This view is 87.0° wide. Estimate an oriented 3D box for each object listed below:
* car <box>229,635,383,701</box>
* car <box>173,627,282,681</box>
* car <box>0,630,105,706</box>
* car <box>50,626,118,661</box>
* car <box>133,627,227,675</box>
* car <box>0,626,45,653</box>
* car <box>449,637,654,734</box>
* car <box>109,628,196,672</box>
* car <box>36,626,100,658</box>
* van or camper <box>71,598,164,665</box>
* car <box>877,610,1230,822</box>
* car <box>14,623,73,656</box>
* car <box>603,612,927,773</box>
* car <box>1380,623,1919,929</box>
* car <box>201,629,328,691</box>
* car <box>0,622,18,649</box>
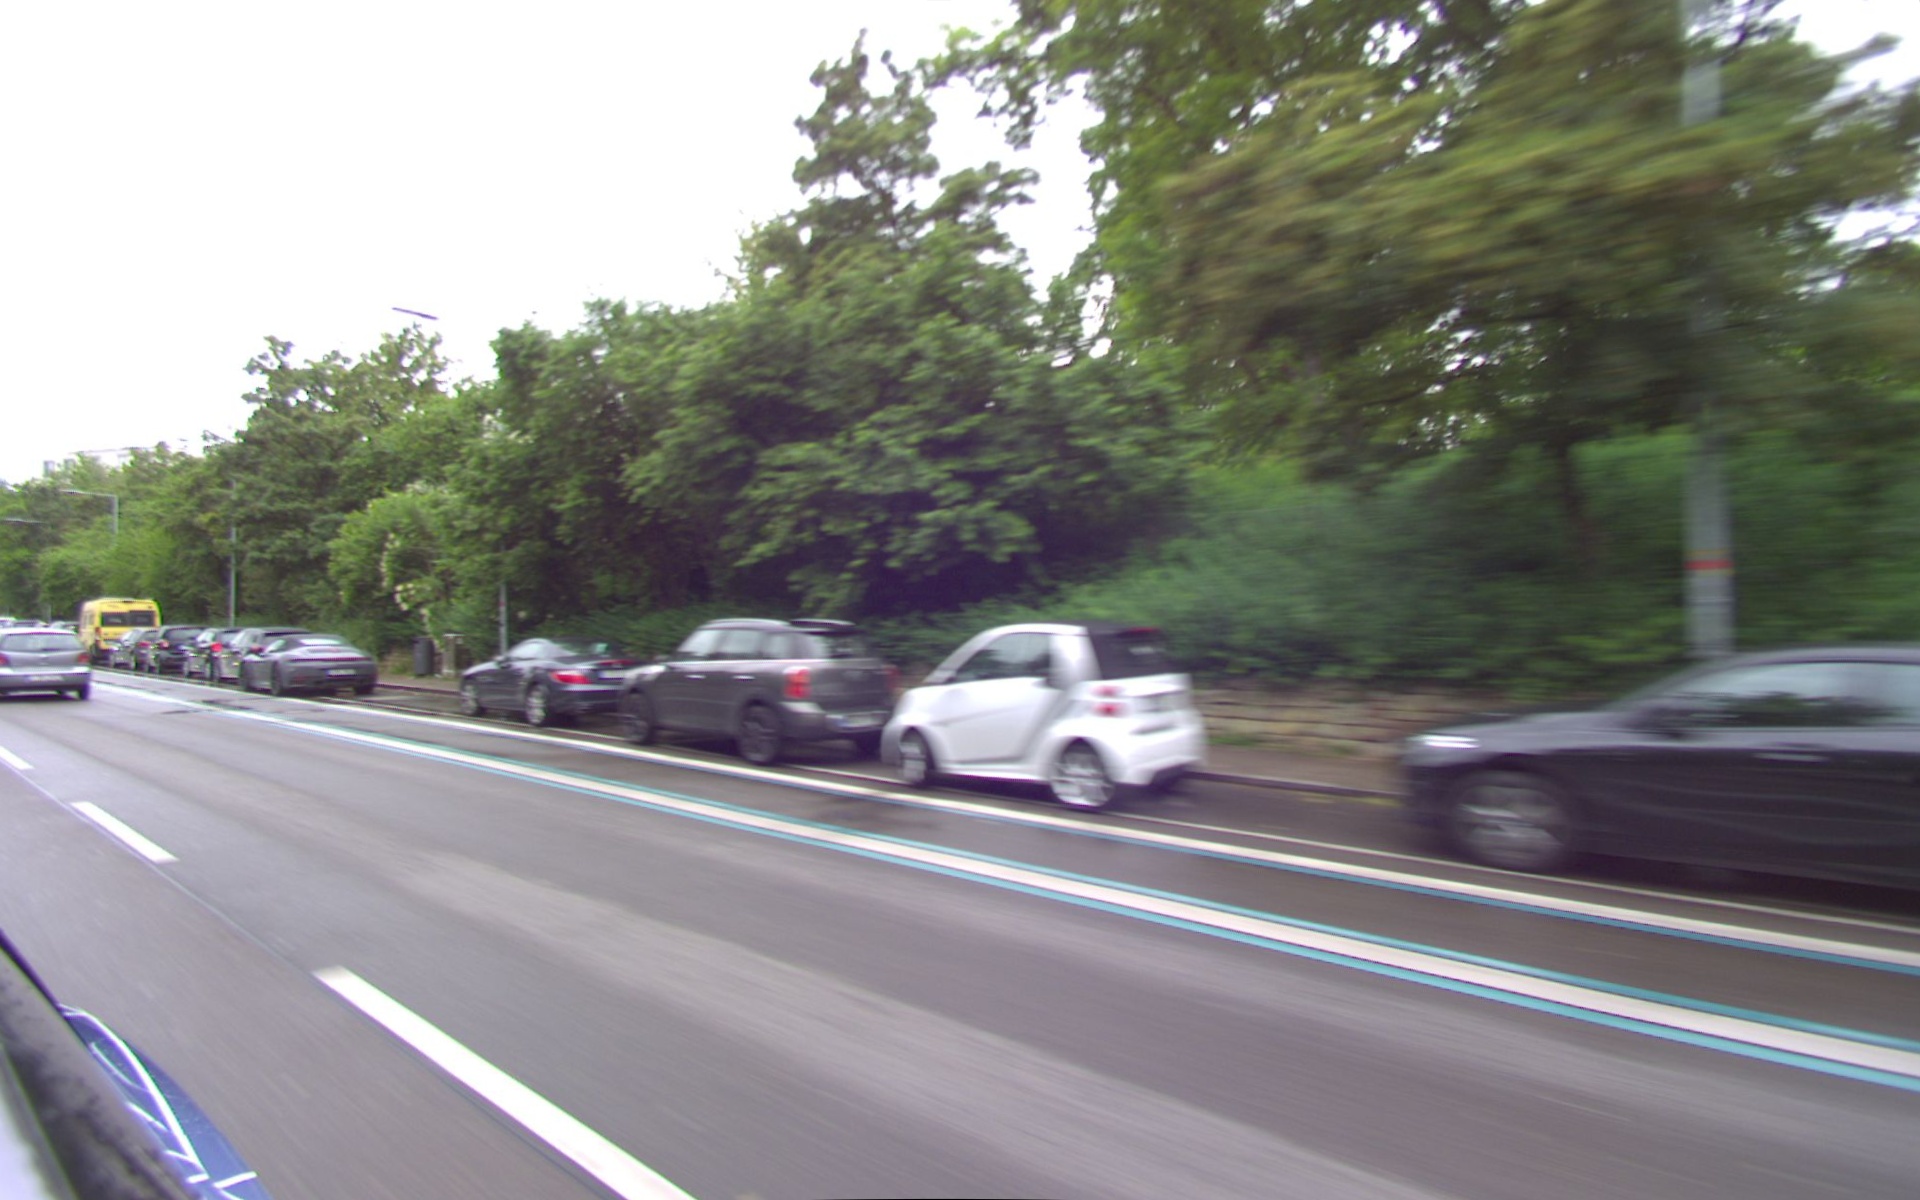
[{"bbox_3d":[-14.541,1.435,22.416,4.204,1.303,1.802,-2,-2,41],"label":"car"},{"bbox_3d":[-21.363,1.532,29.473,3.771,1.446,1.802,-2,-2,41],"label":"car"},{"bbox_3d":[-19.348,1.342,20.906,3.994,1.413,1.783,-1,-1,38],"label":"car"},{"bbox_3d":[-38.433,1.895,44.387,3.557,1.446,1.802,-2,-2,41],"label":"car"},{"bbox_3d":[-25.566,1.635,33.148,3.557,1.490,1.802,-2,-2,41],"label":"car"},{"bbox_3d":[-54.375,2.265,58.472,3.557,1.446,1.802,-2,-2,41],"label":"car"},{"bbox_3d":[-6.383,1.237,15.647,3.596,1.303,1.494,-2,-2,41],"label":"car"},{"bbox_3d":[-28.553,1.747,35.759,3.557,1.446,1.802,-2,-2,41],"label":"car"},{"bbox_3d":[-41.614,1.936,47.218,3.557,1.446,1.802,-2,-2,41],"label":"car"},{"bbox_3d":[-33.223,1.219,39.865,4.434,2.470,2.137,-1,-1,41],"label":"van or camper"},{"bbox_3d":[0.787,0.930,9.215,2.858,1.606,1.507,-2,-3,40],"label":"car"},{"bbox_3d":[-46.039,1.967,50.820,3.557,1.535,1.802,-2,-2,41],"label":"car"},{"bbox_3d":[-2.452,0.981,12.139,3.991,1.600,1.795,-2,-2,42],"label":"car"},{"bbox_3d":[5.110,0.891,5.906,4.550,1.486,1.877,-2,-2,40],"label":"car"},{"bbox_3d":[-17.804,1.478,25.859,3.771,1.446,1.802,-2,-2,41],"label":"car"},{"bbox_3d":[-60.345,2.220,63.221,3.557,1.673,1.802,-2,-2,41],"label":"car"}]
